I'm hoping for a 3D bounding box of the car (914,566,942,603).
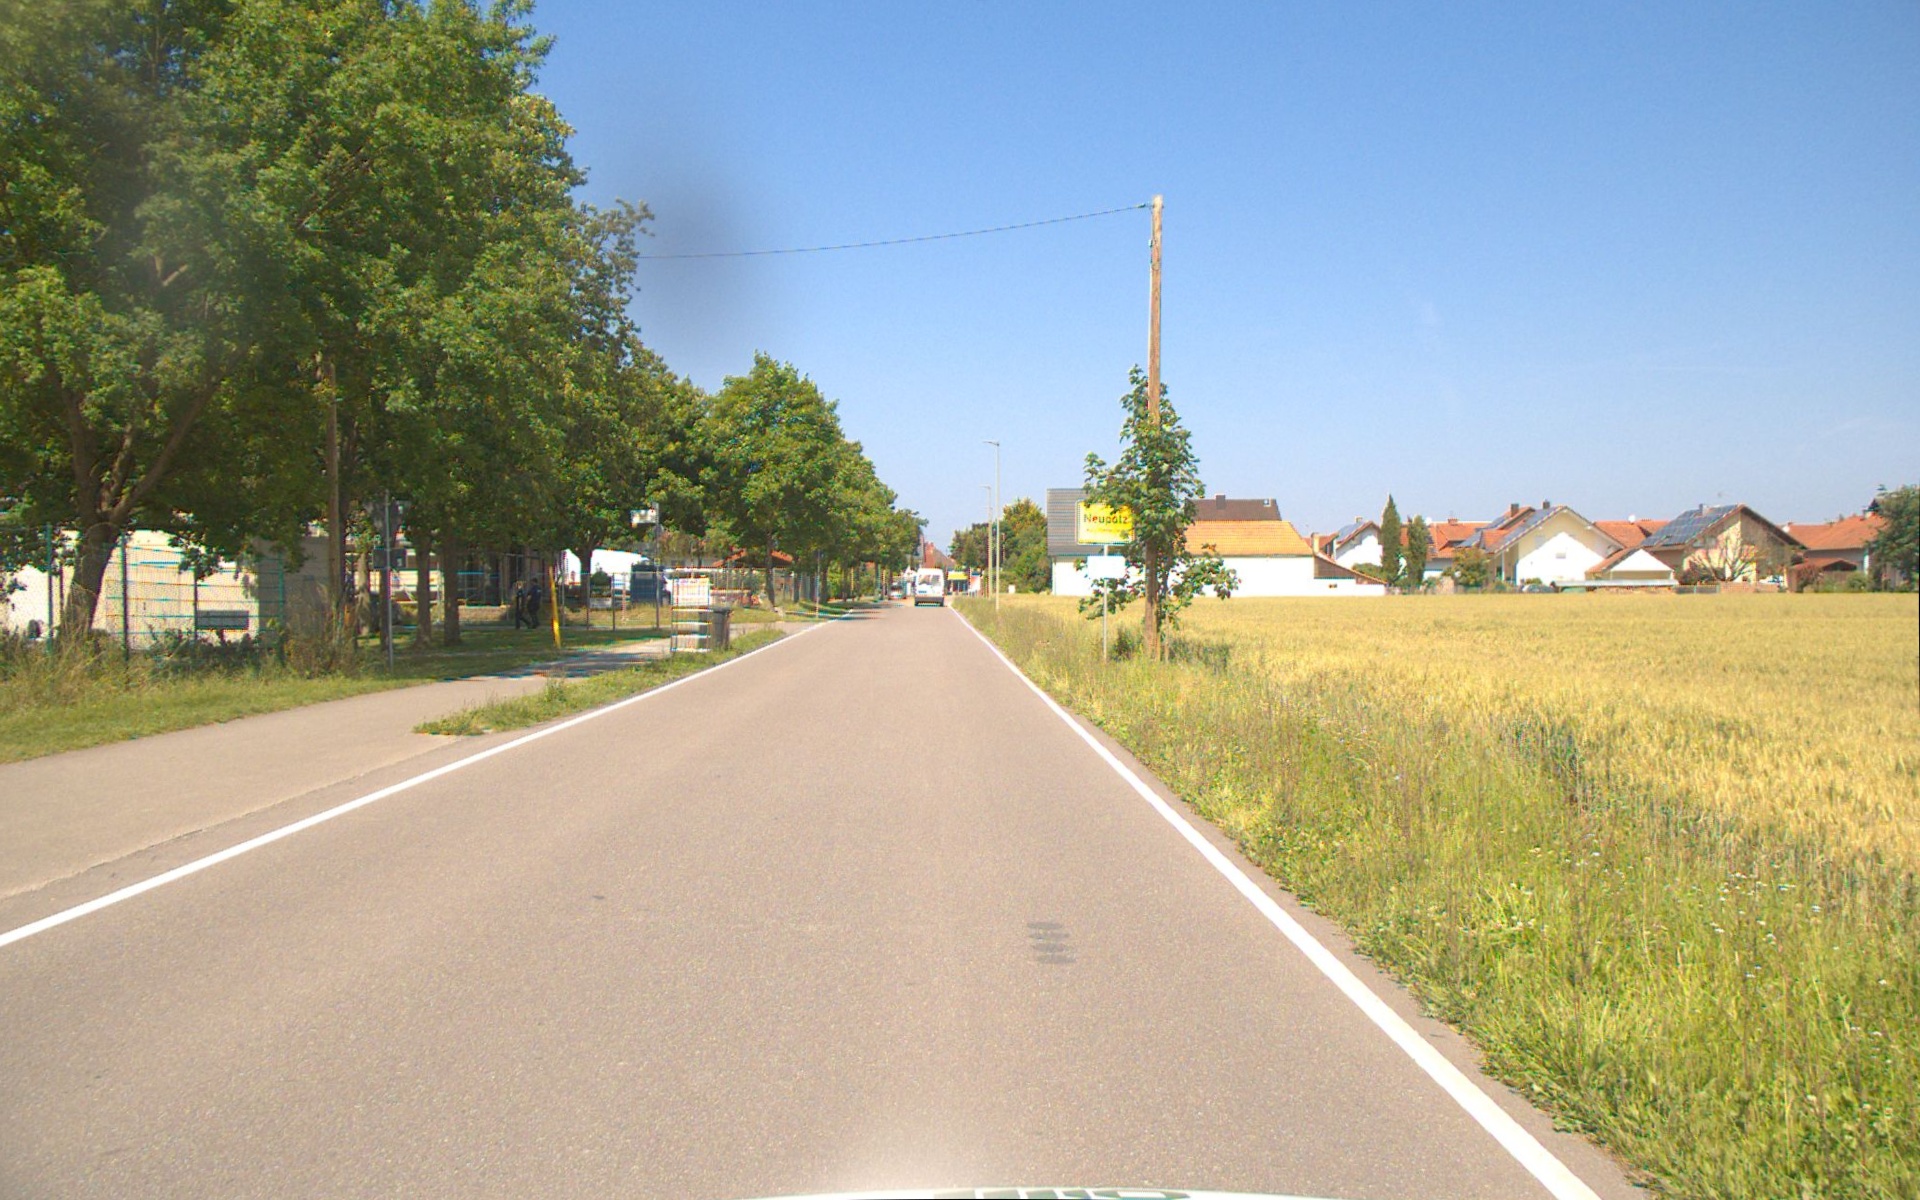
[{"bbox_3d":[-2.139,-1.033,111.532,1.702,2.474,4.375,-1,0,1],"label":"car"}]

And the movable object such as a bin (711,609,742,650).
[{"bbox_3d":[-5.192,0.660,36.793,0.550,0.892,0.614,-1,0,6],"label":"movable object such as a bin"}]

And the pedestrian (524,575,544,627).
[{"bbox_3d":[-14.792,0.030,57.461,0.592,1.781,0.585,-1,0,-11],"label":"pedestrian"}]

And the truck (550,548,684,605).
[{"bbox_3d":[-15.859,-1.055,76.760,5.872,2.527,1.973,0,0,-39],"label":"truck"}]

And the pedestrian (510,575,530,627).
[{"bbox_3d":[-15.108,0.038,56.767,0.592,1.781,0.585,-1,0,-11],"label":"pedestrian"}]

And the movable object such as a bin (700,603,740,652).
[{"bbox_3d":[-5.221,0.586,36.032,0.684,1.042,0.748,-1,0,6],"label":"movable object such as a bin"}]

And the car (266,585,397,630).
[{"bbox_3d":[-20.756,0.233,54.727,3.729,1.423,1.756,-1,0,-9],"label":"car"}]

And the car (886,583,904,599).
[{"bbox_3d":[-6.363,-0.852,162.097,1.614,1.448,4.079,-3,0,-1],"label":"car"}]

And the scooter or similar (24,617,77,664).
[{"bbox_3d":[-20.204,0.889,36.758,0.877,1.015,0.533,-1,0,-7],"label":"scooter or similar"}]
